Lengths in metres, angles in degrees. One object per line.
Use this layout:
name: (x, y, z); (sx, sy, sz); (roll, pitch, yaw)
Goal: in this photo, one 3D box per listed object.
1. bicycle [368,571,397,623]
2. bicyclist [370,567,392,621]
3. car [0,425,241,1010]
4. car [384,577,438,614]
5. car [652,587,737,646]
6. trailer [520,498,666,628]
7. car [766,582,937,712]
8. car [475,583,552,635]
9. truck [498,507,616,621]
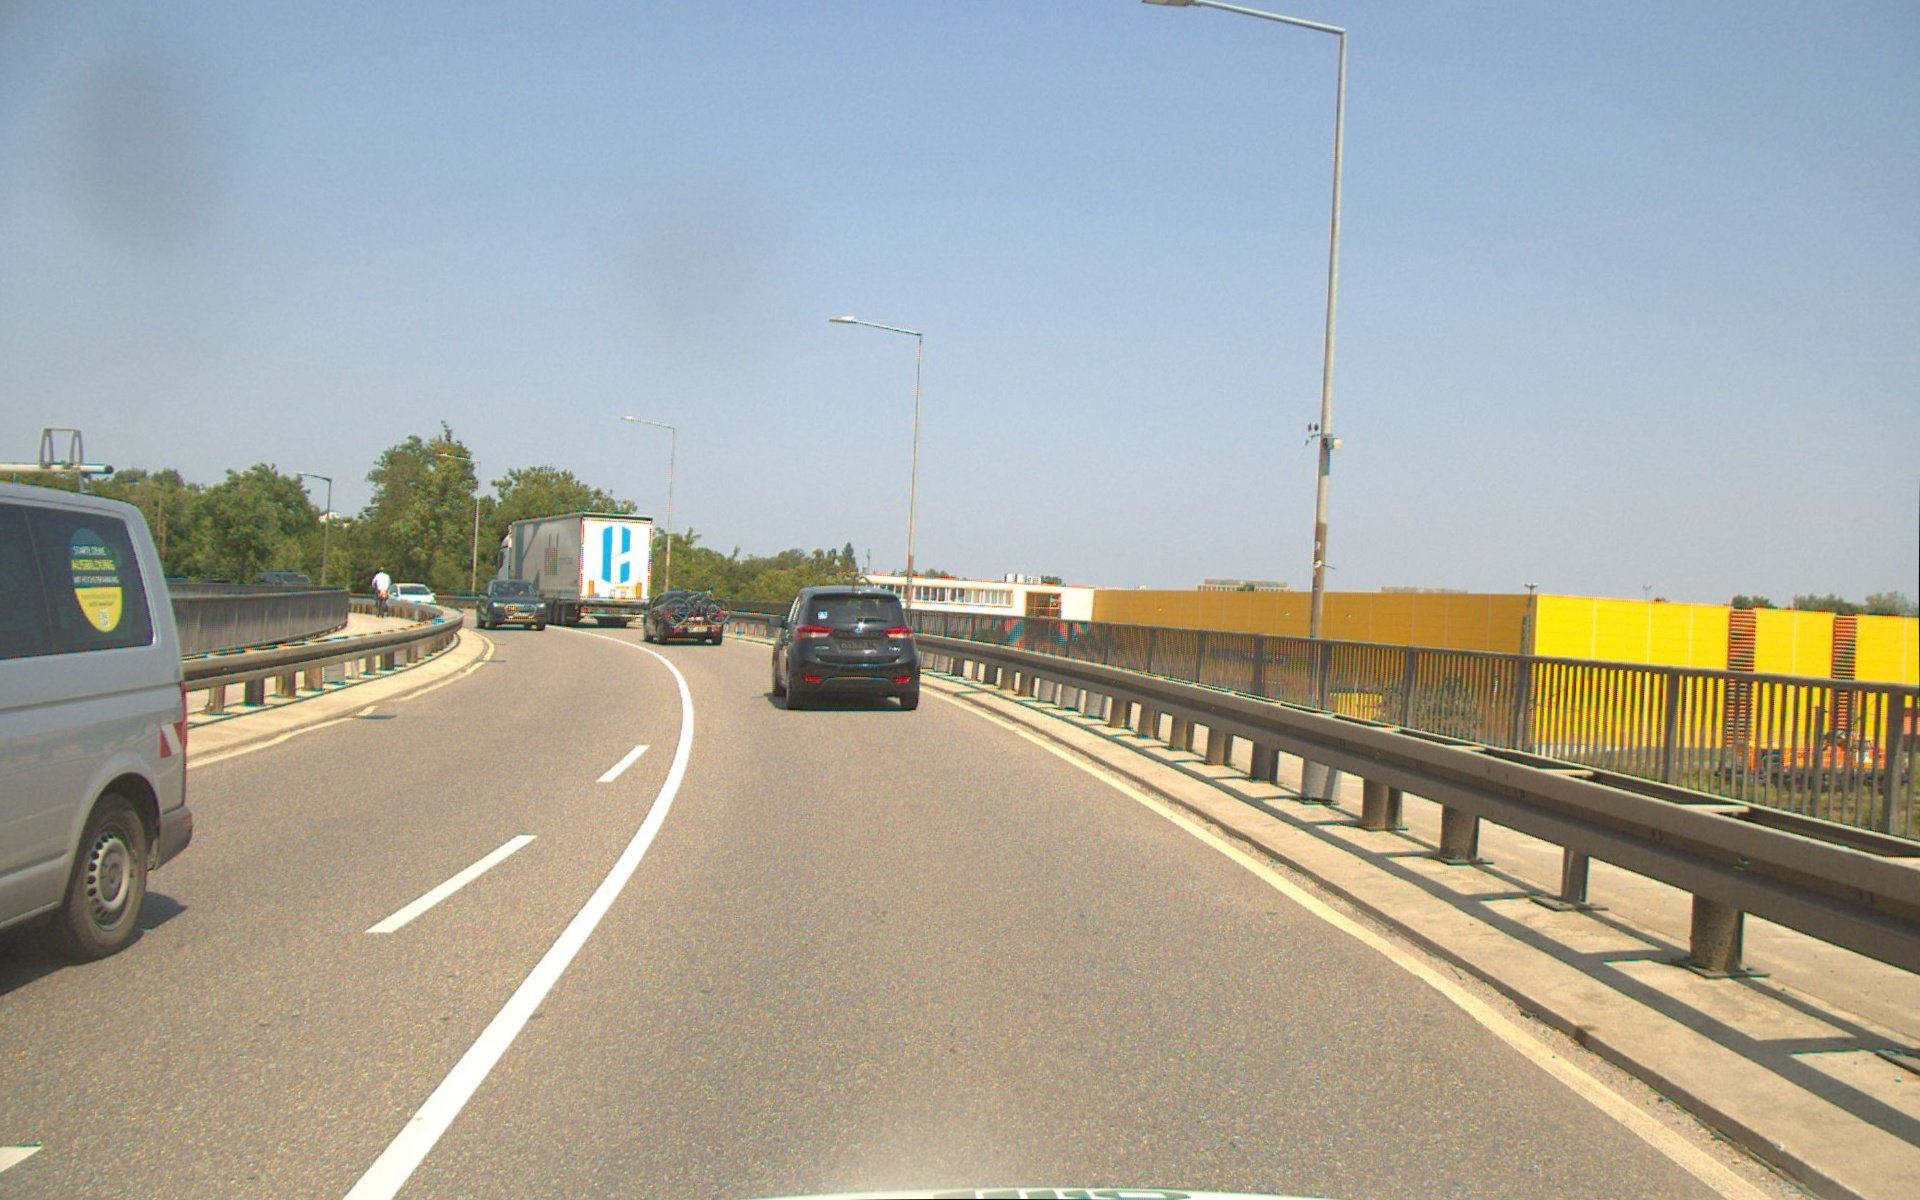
bicycle: (-20.955, -0.123, 60.028); (0.689, 1.833, 2.162); (1, 0, -26)
bicyclist: (-20.927, -0.227, 59.816); (0.617, 1.919, 0.706); (1, 0, -28)
car: (-4.235, 0.406, 5.355); (1.823, 2.035, 4.812); (0, 0, -2)
car: (-24.150, -0.214, 72.746); (1.646, 1.489, 3.453); (1, 1, -29)
car: (-7.215, 0.419, 44.701); (1.977, 1.454, 3.764); (2, 1, -14)
trailer: (-14.326, -1.386, 63.636); (3.520, 4.460, 11.363); (1, 1, -22)
car: (-1.592, 0.586, 22.890); (1.887, 1.601, 3.881); (2, 0, -11)
car: (-15.154, 0.264, 56.006); (1.819, 1.664, 4.199); (0, 1, -26)
truck: (-17.121, -1.506, 69.985); (3.528, 4.518, 6.462); (1, 0, -26)
